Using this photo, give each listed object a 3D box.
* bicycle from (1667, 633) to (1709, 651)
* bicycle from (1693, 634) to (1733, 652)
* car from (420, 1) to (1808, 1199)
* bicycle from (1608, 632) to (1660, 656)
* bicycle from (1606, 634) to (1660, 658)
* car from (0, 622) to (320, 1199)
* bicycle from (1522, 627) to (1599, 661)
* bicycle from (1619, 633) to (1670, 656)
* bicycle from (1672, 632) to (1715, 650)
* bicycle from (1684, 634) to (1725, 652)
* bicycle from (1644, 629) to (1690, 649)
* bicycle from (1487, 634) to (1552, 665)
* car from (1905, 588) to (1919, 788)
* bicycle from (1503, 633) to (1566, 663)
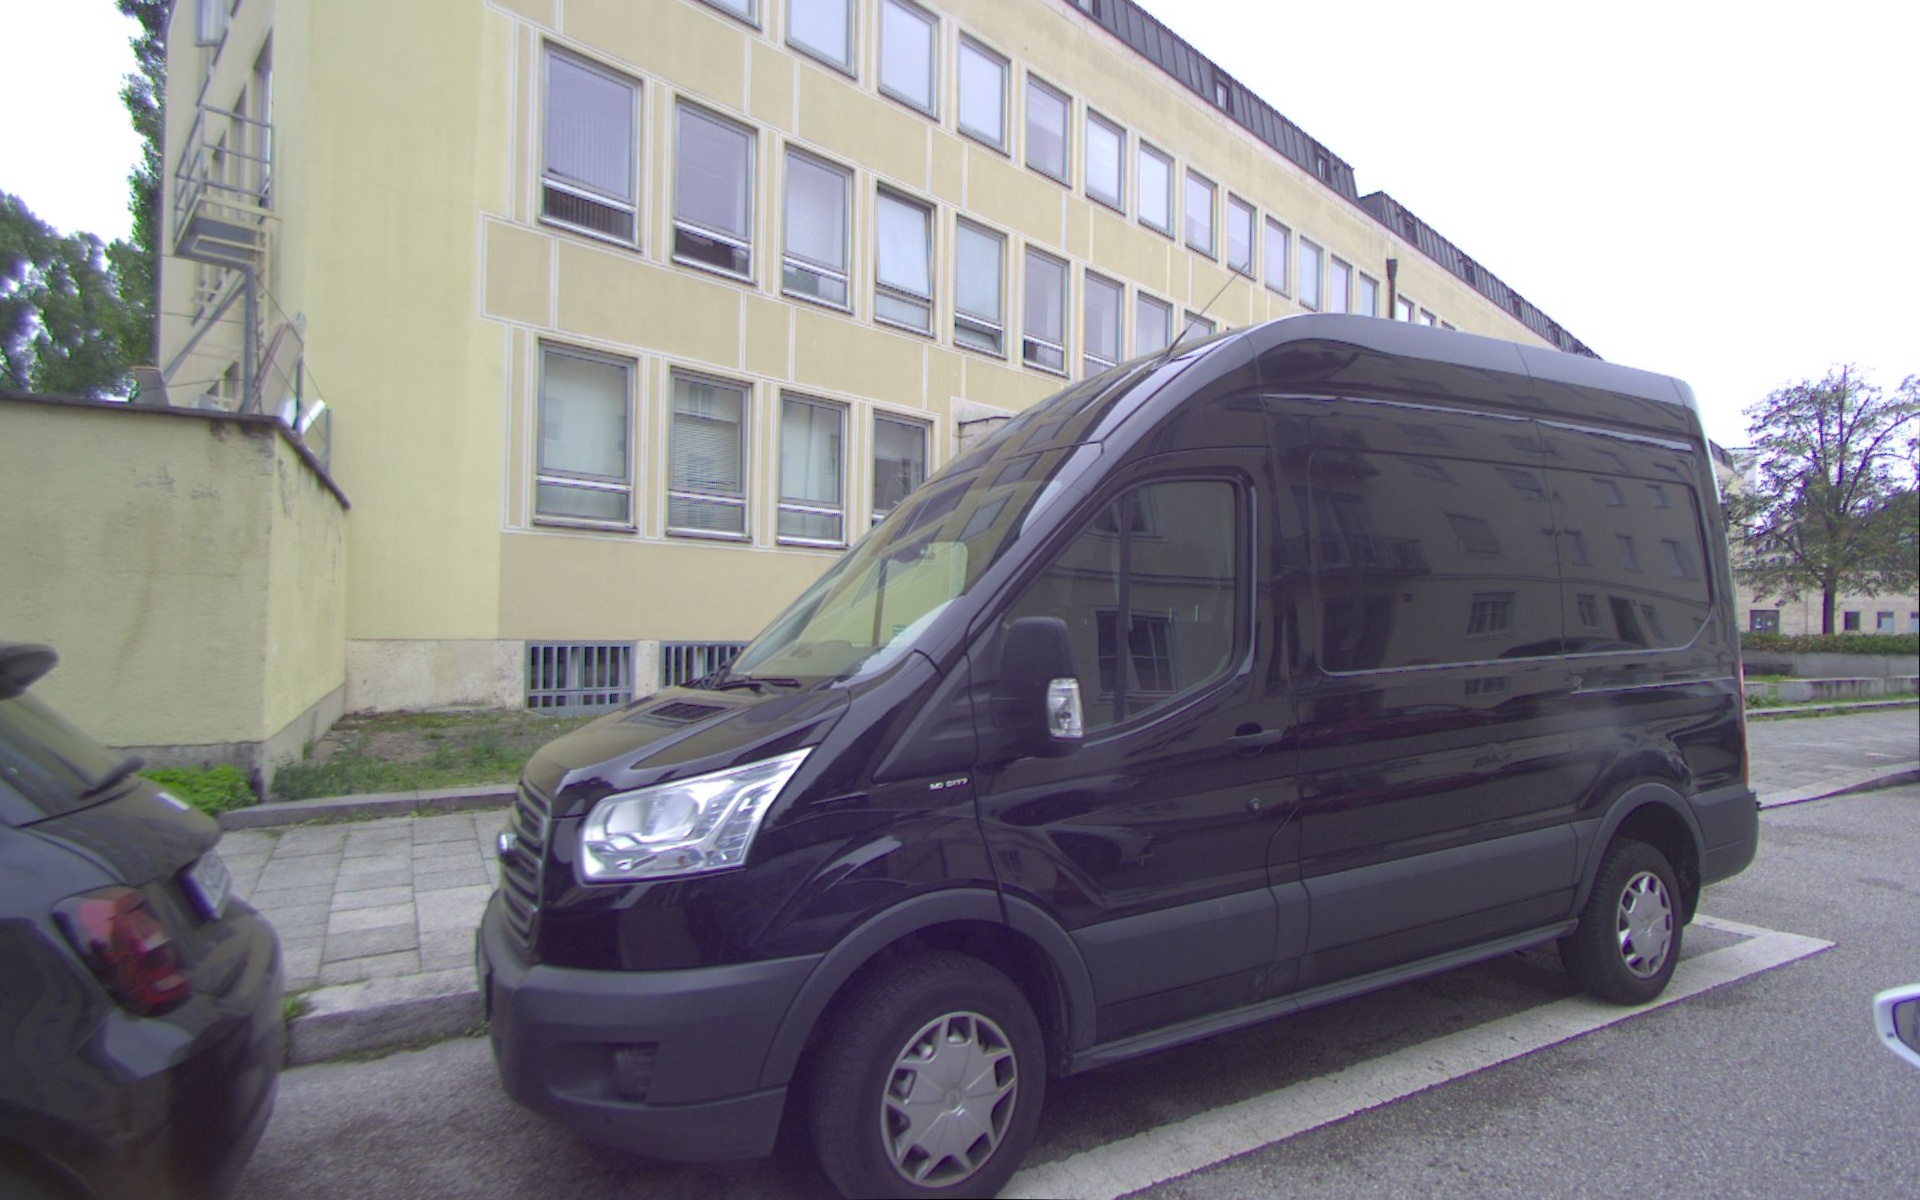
[{"bbox_3d":[42.528,2.456,58.692,0.620,1.028,1.930,1,-1,-40],"label":"bicycle"},{"bbox_3d":[46.075,2.615,61.447,1.923,1.028,0.623,0,-1,39],"label":"bicycle"},{"bbox_3d":[0.898,0.284,4.275,5.584,2.680,2.288,1,-3,-29],"label":"car"},{"bbox_3d":[30.940,2.011,46.129,0.621,1.028,1.928,2,-1,-43],"label":"bicycle"},{"bbox_3d":[30.451,2.069,45.453,0.620,1.028,1.930,1,-1,-40],"label":"bicycle"},{"bbox_3d":[-3.122,0.781,1.614,3.455,1.513,1.690,2,-2,-35],"label":"car"},{"bbox_3d":[23.074,1.676,38.624,2.408,1.265,1.051,0,-1,43],"label":"bicycle"},{"bbox_3d":[32.777,2.111,48.096,0.621,1.028,1.928,2,-1,-43],"label":"bicycle"},{"bbox_3d":[42.209,2.359,57.824,1.926,1.028,0.622,0,-1,44],"label":"bicycle"},{"bbox_3d":[44.928,2.578,60.624,0.621,1.028,1.927,2,-1,-44],"label":"bicycle"},{"bbox_3d":[38.074,2.087,54.099,0.619,1.028,1.933,1,-1,-36],"label":"bicycle"},{"bbox_3d":[19.545,1.703,35.109,1.926,1.028,0.622,0,-1,43],"label":"bicycle"},{"bbox_3d":[12.167,0.921,10.709,4.969,2.005,1.917,2,-3,-33],"label":"car"},{"bbox_3d":[21.109,1.750,36.905,1.926,1.028,0.622,0,-1,43],"label":"bicycle"}]
